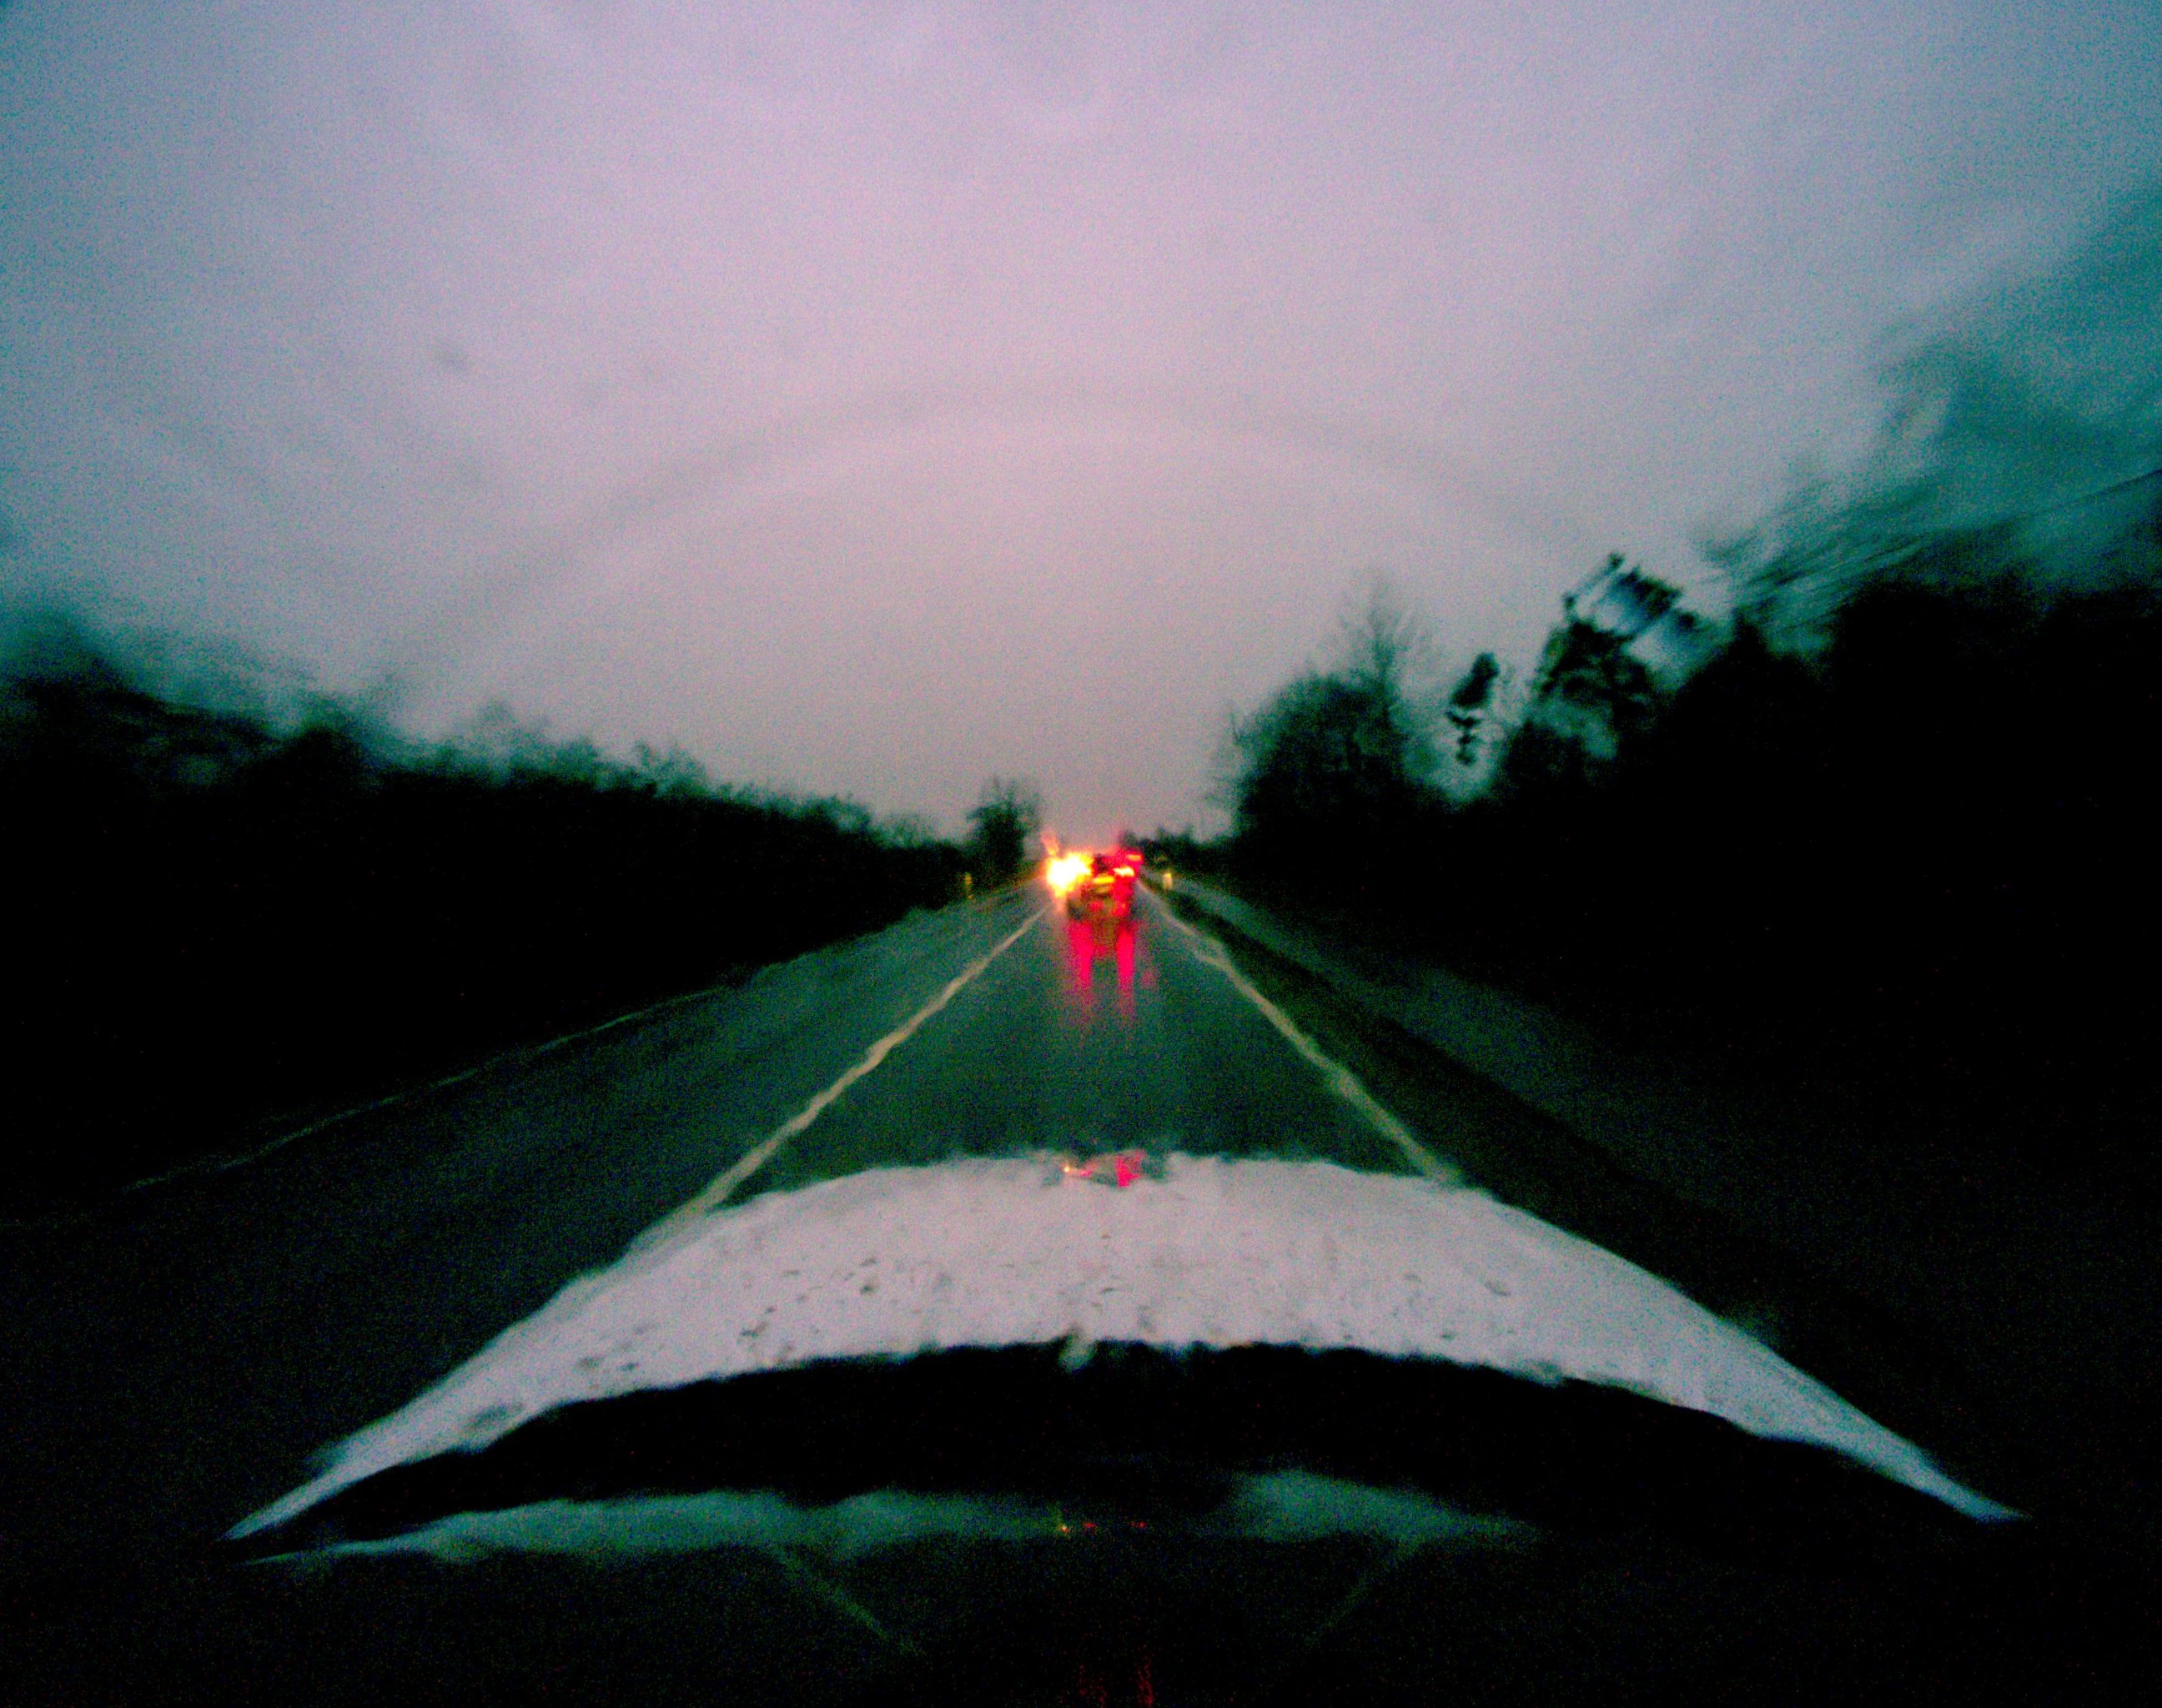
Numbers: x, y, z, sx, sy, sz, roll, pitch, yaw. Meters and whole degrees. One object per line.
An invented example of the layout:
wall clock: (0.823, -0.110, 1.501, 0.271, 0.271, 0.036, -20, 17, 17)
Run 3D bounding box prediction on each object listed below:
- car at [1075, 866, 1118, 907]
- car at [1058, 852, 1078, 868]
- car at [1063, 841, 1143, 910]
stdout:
car: (0.780, 1.547, 39.724, 1.986, 1.849, 4.002, 0, 0, 2)
car: (-1.234, 0.556, 78.301, 1.626, 1.457, 3.983, -4, 0, 1)
car: (0.670, 0.572, 24.358, 2.112, 1.820, 4.982, -1, 0, 2)
